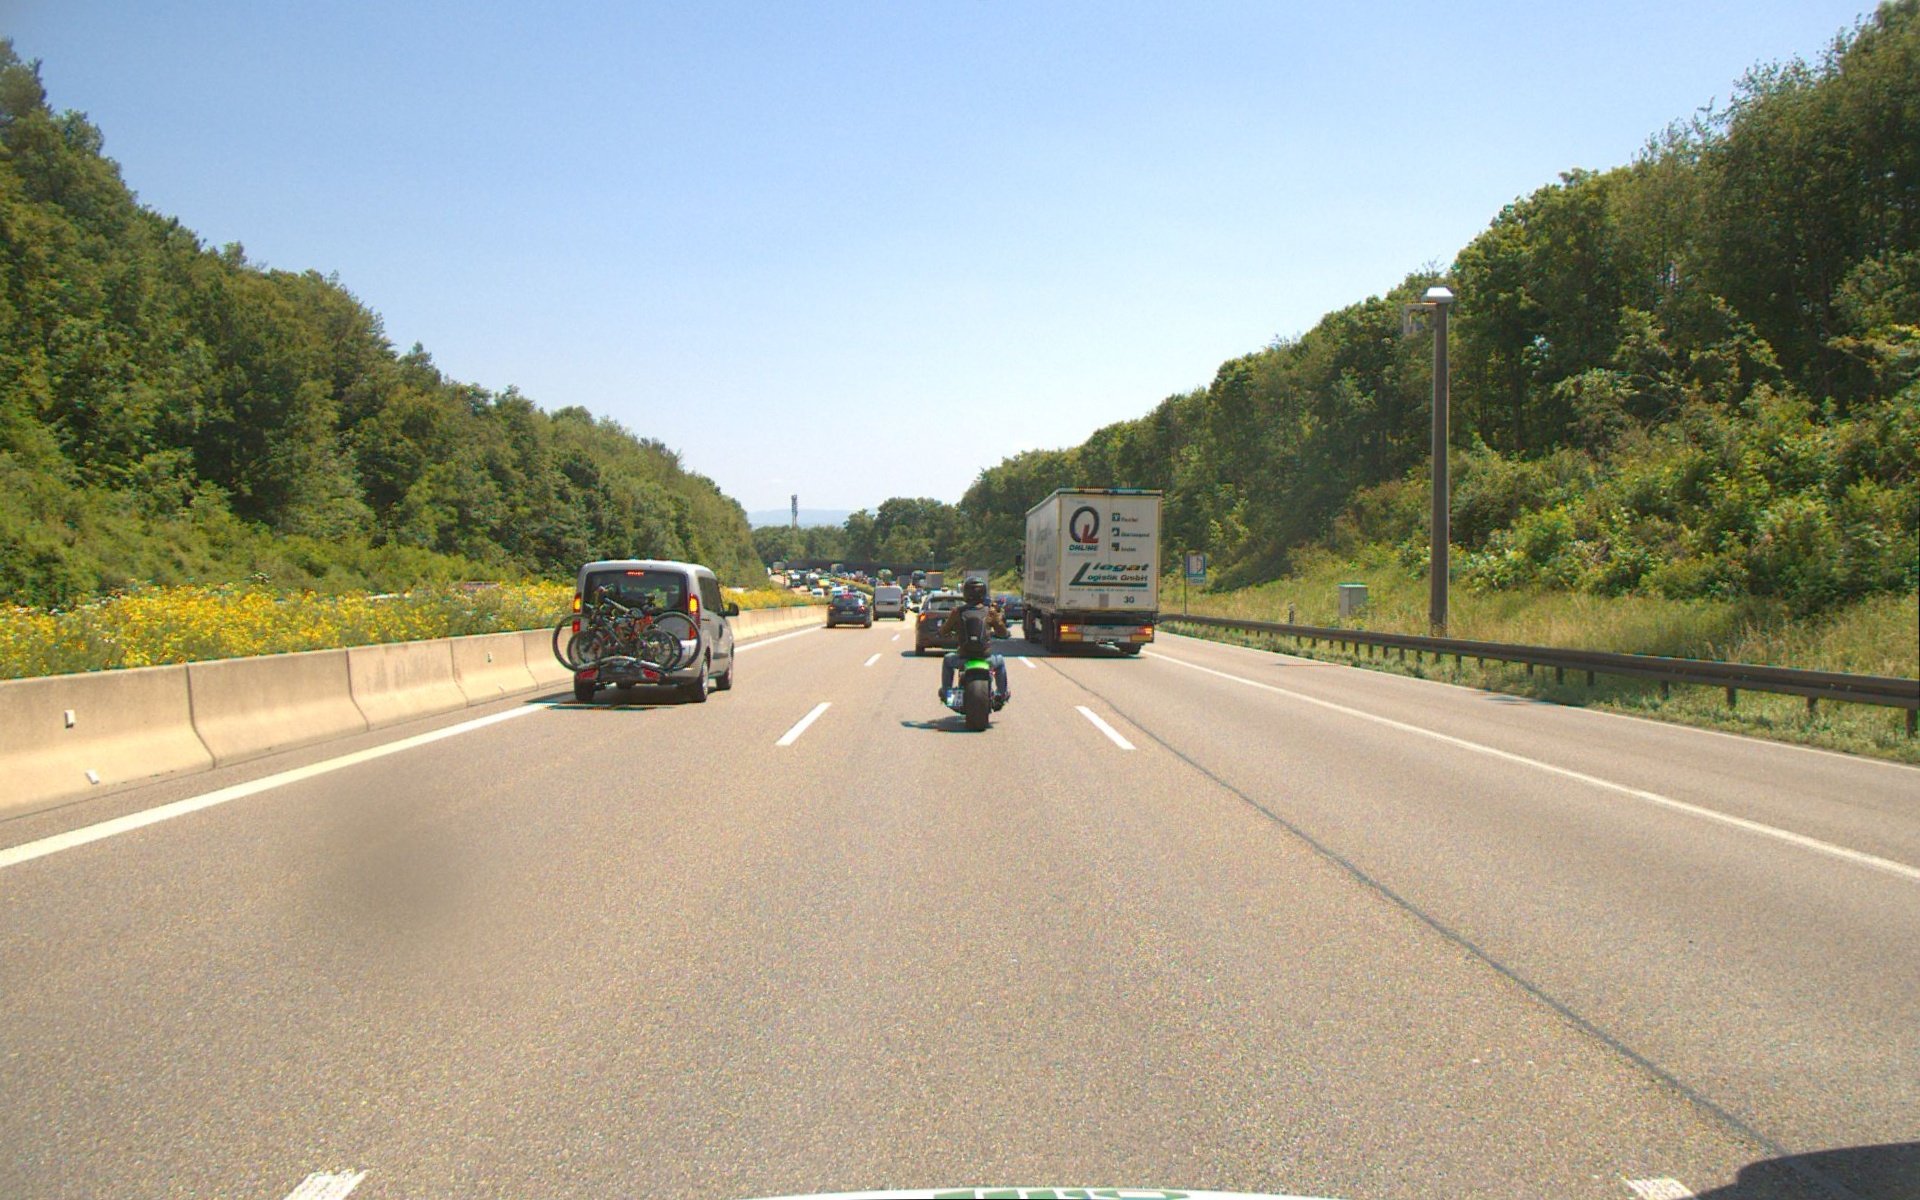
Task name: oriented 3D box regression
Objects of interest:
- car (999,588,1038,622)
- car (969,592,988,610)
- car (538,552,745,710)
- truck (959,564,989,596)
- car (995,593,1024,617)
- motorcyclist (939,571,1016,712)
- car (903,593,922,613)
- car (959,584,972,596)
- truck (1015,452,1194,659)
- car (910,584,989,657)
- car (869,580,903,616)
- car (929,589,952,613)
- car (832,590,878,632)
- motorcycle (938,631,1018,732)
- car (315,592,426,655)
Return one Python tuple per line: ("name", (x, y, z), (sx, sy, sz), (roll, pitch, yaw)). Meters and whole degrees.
("car", (3.000, 0.230, 85.916), (1.794, 1.585, 4.119), (1, 2, -1))
("car", (1.833, 0.075, 164.004), (1.794, 1.585, 4.119), (1, 2, -1))
("car", (-4.220, 0.339, 22.811), (1.859, 1.880, 5.482), (1, 1, -1))
("truck", (1.547, -2.247, 185.291), (3.005, 3.404, 9.651), (2, 1, -1))
("car", (3.417, 0.333, 115.241), (1.794, 1.585, 4.119), (1, 2, -1))
("motorcyclist", (0.193, 0.446, 18.590), (0.838, 1.541, 0.914), (0, 0, 0))
("car", (-4.744, 0.258, 165.590), (1.794, 1.842, 4.119), (1, 2, -1))
("car", (0.822, -1.500, 240.922), (1.794, 1.585, 4.119), (1, 2, -1))
("truck", (3.729, -1.249, 48.206), (3.314, 4.800, 17.707), (2, 1, -1))
("car", (-0.279, 0.454, 40.435), (1.808, 1.584, 4.439), (1, 2, -1))
("car", (-4.071, -0.149, 91.441), (1.794, 1.842, 4.119), (1, 2, -1))
("car", (-1.615, 0.072, 136.752), (1.794, 1.842, 4.119), (1, 2, -1))
("car", (-4.374, 0.434, 69.348), (1.722, 1.570, 4.395), (1, 2, -1))
("motorcycle", (0.193, 0.885, 18.653), (0.844, 0.999, 2.131), (0, 1, 0))
("car", (-18.437, 0.713, 51.920), (1.773, 1.839, 4.501), (2, 0, 0))
